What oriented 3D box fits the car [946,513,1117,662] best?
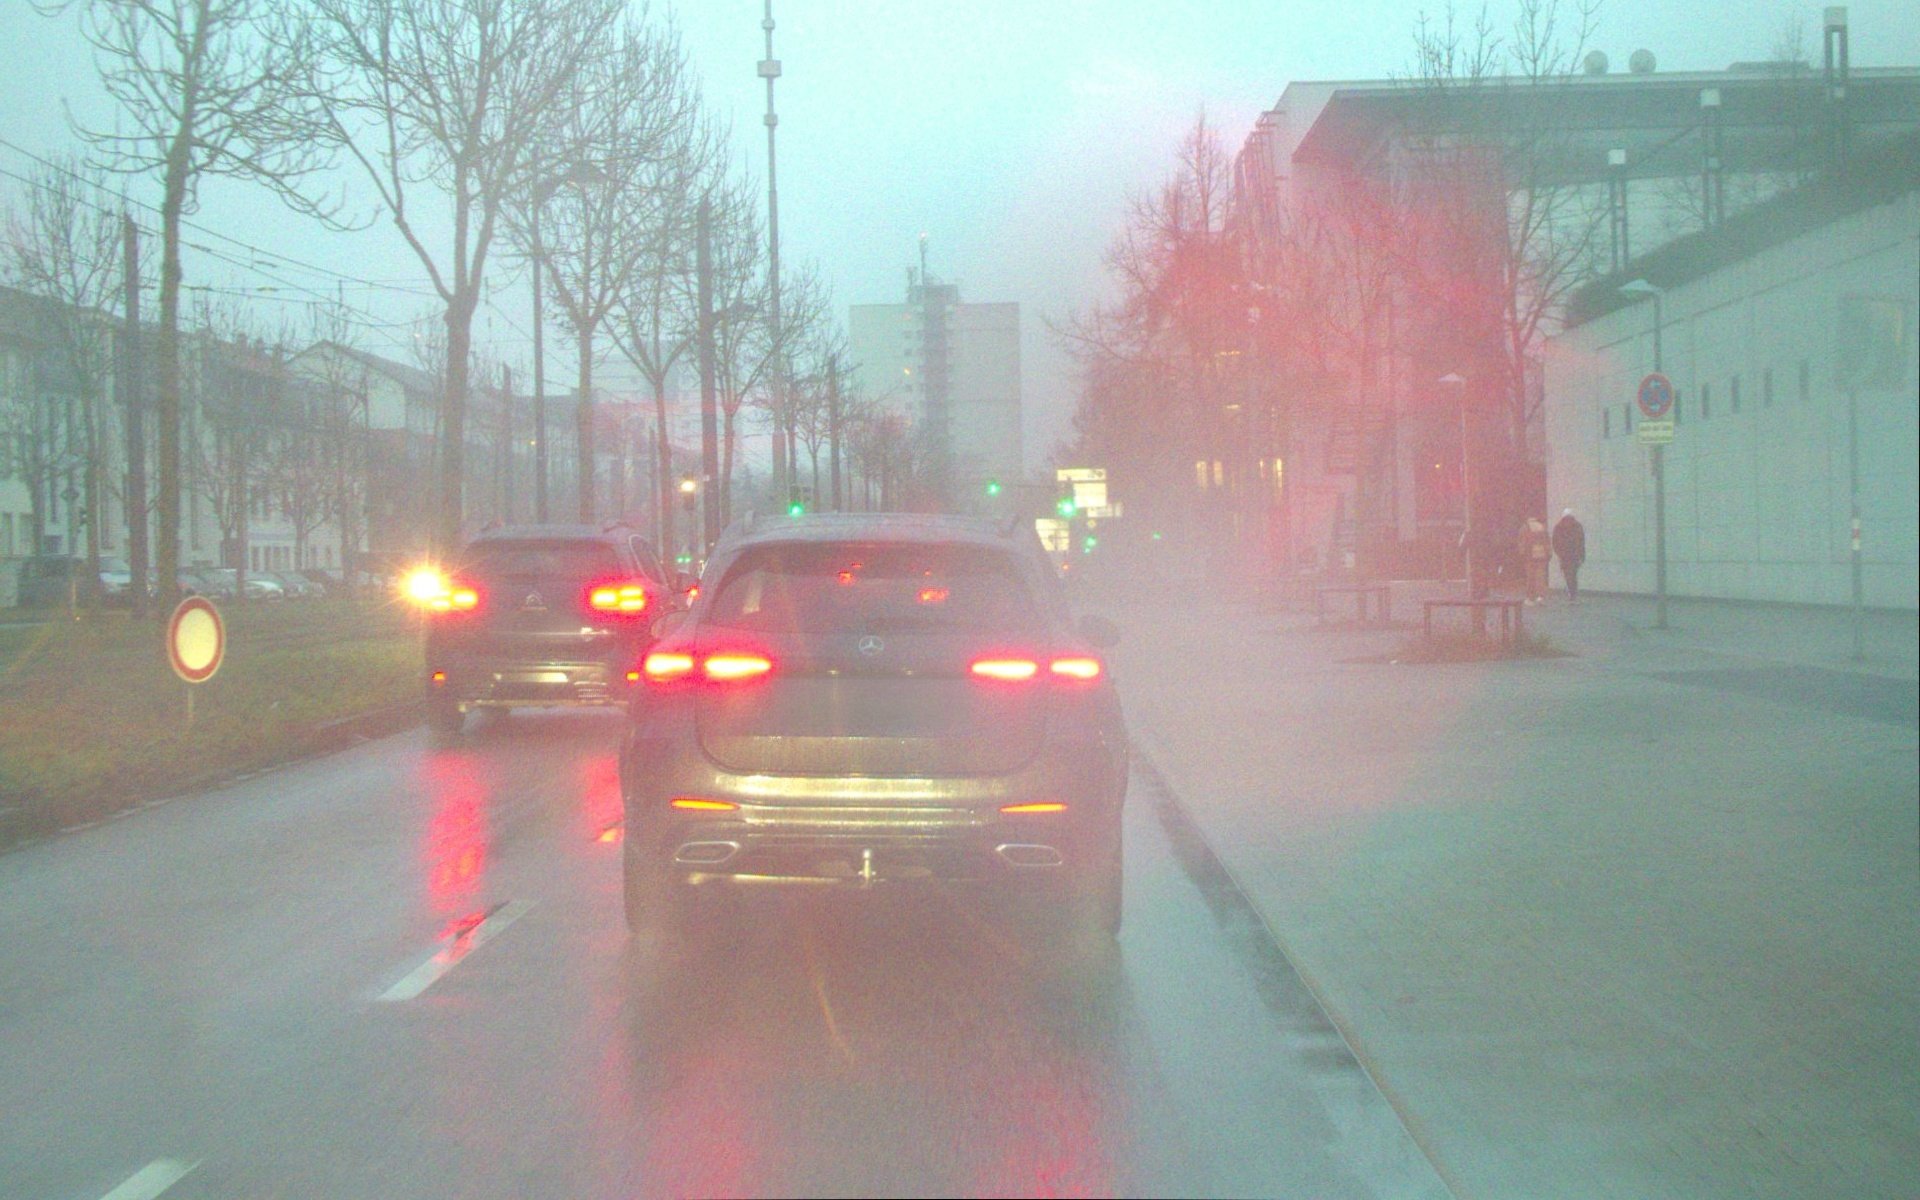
[{"bbox_3d":[0.893,-0.173,42.752,1.993,1.738,4.000,-1,1,1],"label":"car"}]

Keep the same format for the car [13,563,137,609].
[{"bbox_3d":[-27.438,-0.439,106.579,3.552,1.349,1.778,0,1,35],"label":"car"}]

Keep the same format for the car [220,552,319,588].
[{"bbox_3d":[-26.651,-1.157,132.675,3.552,1.349,1.778,0,1,35],"label":"car"}]

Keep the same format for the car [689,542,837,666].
[{"bbox_3d":[-2.622,0.029,46.409,1.672,1.594,4.053,0,1,1],"label":"car"}]

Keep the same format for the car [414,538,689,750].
[{"bbox_3d":[-3.254,0.304,28.068,1.672,1.594,4.053,0,1,1],"label":"car"}]

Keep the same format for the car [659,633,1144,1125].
[{"bbox_3d":[-0.161,0.985,13.911,1.672,1.594,4.053,0,1,1],"label":"car"}]
